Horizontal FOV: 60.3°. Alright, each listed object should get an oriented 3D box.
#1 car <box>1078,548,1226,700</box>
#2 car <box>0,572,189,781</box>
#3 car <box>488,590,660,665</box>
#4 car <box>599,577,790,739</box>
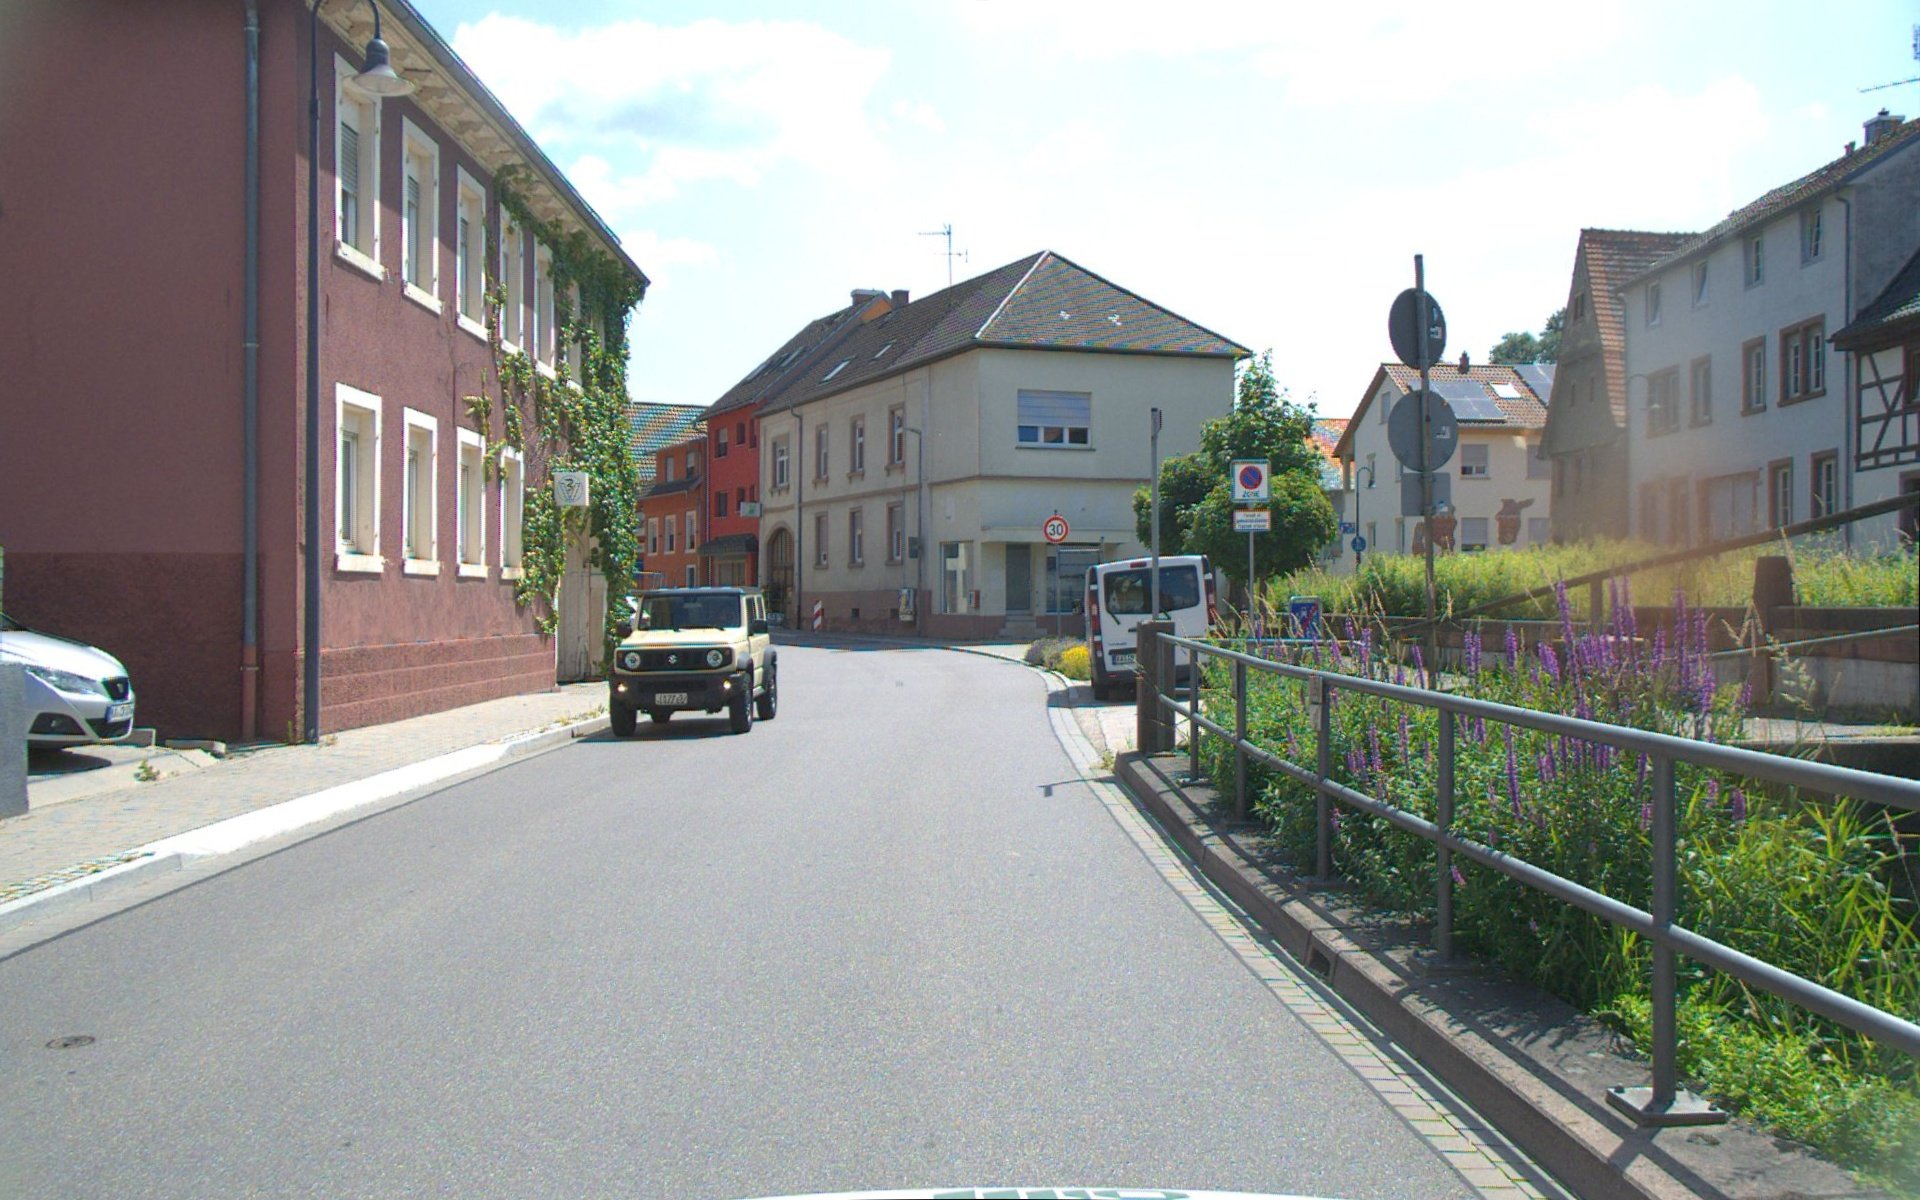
[{"bbox_3d":[2.762,0.324,24.349,1.858,2.015,3.114,-2,0,2],"label":"car"},{"bbox_3d":[-8.159,0.468,12.819,3.493,1.430,1.651,4,0,-1],"label":"car"},{"bbox_3d":[-9.003,0.662,38.457,3.928,1.557,1.988,-4,-3,42],"label":"car"},{"bbox_3d":[-3.151,0.638,20.244,1.588,1.749,3.474,-2,0,2],"label":"car"}]
